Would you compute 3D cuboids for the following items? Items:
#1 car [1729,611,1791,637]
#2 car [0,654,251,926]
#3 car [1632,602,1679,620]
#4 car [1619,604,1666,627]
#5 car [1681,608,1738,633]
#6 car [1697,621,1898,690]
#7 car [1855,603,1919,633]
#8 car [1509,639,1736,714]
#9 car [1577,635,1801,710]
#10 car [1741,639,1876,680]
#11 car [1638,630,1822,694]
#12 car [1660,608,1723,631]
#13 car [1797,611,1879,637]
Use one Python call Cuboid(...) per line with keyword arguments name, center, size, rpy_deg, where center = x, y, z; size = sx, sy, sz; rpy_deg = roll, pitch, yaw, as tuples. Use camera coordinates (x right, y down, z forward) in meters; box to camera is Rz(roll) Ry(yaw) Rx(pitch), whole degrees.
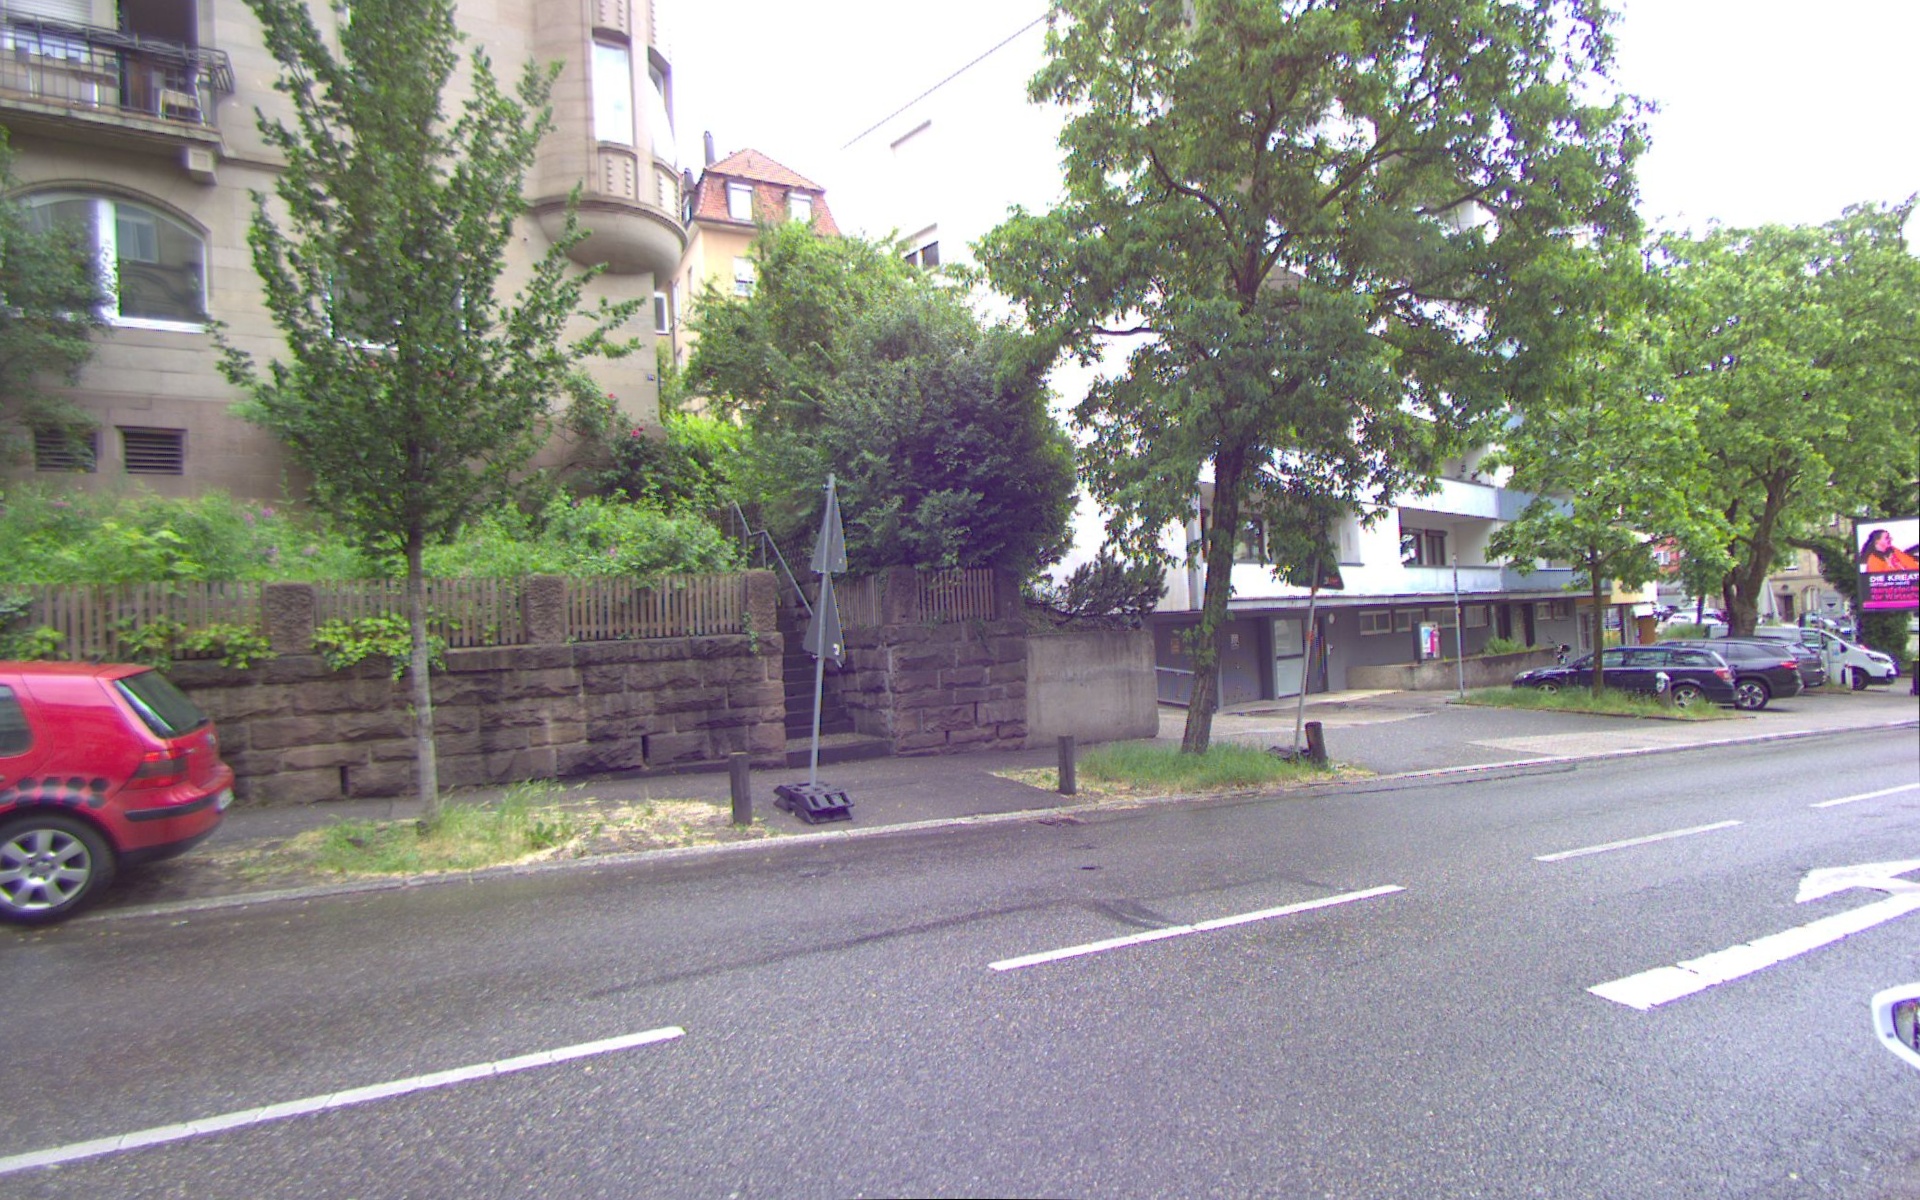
Cuboid(name="car", center=(68.943, 2.050, 86.644), size=(1.961, 2.130, 4.291), rpy_deg=(-1, 1, -1))
Cuboid(name="car", center=(-6.645, 1.076, 5.772), size=(4.015, 1.470, 1.606), rpy_deg=(1, -2, -30))
Cuboid(name="car", center=(68.333, 1.049, 98.714), size=(1.694, 1.711, 3.999), rpy_deg=(2, 0, -2))
Cuboid(name="car", center=(61.105, 1.405, 89.967), size=(1.545, 2.040, 4.001), rpy_deg=(0, -1, 2))
Cuboid(name="car", center=(68.562, 1.814, 91.911), size=(1.961, 2.130, 4.291), rpy_deg=(-1, 1, -1))
Cuboid(name="car", center=(27.660, 1.804, 33.392), size=(5.000, 2.132, 1.983), rpy_deg=(-2, -3, 40))
Cuboid(name="car", center=(69.358, 1.297, 74.544), size=(1.961, 2.130, 4.291), rpy_deg=(-1, 1, -1))
Cuboid(name="car", center=(15.586, 1.774, 23.736), size=(4.303, 1.594, 1.936), rpy_deg=(-3, -4, 38))
Cuboid(name="car", center=(17.968, 1.776, 24.930), size=(4.312, 1.694, 1.848), rpy_deg=(-3, -4, 38))
Cuboid(name="car", center=(32.979, 2.283, 39.148), size=(3.925, 1.469, 1.761), rpy_deg=(-2, -3, 40))
Cuboid(name="car", center=(23.242, 1.828, 30.448), size=(4.304, 1.807, 1.931), rpy_deg=(-2, -3, 40))
Cuboid(name="car", center=(60.305, 1.622, 82.899), size=(1.961, 1.749, 4.249), rpy_deg=(-2, -1, -1))
Cuboid(name="car", center=(60.415, 1.623, 69.199), size=(1.960, 1.749, 4.250), rpy_deg=(-1, 0, 1))
